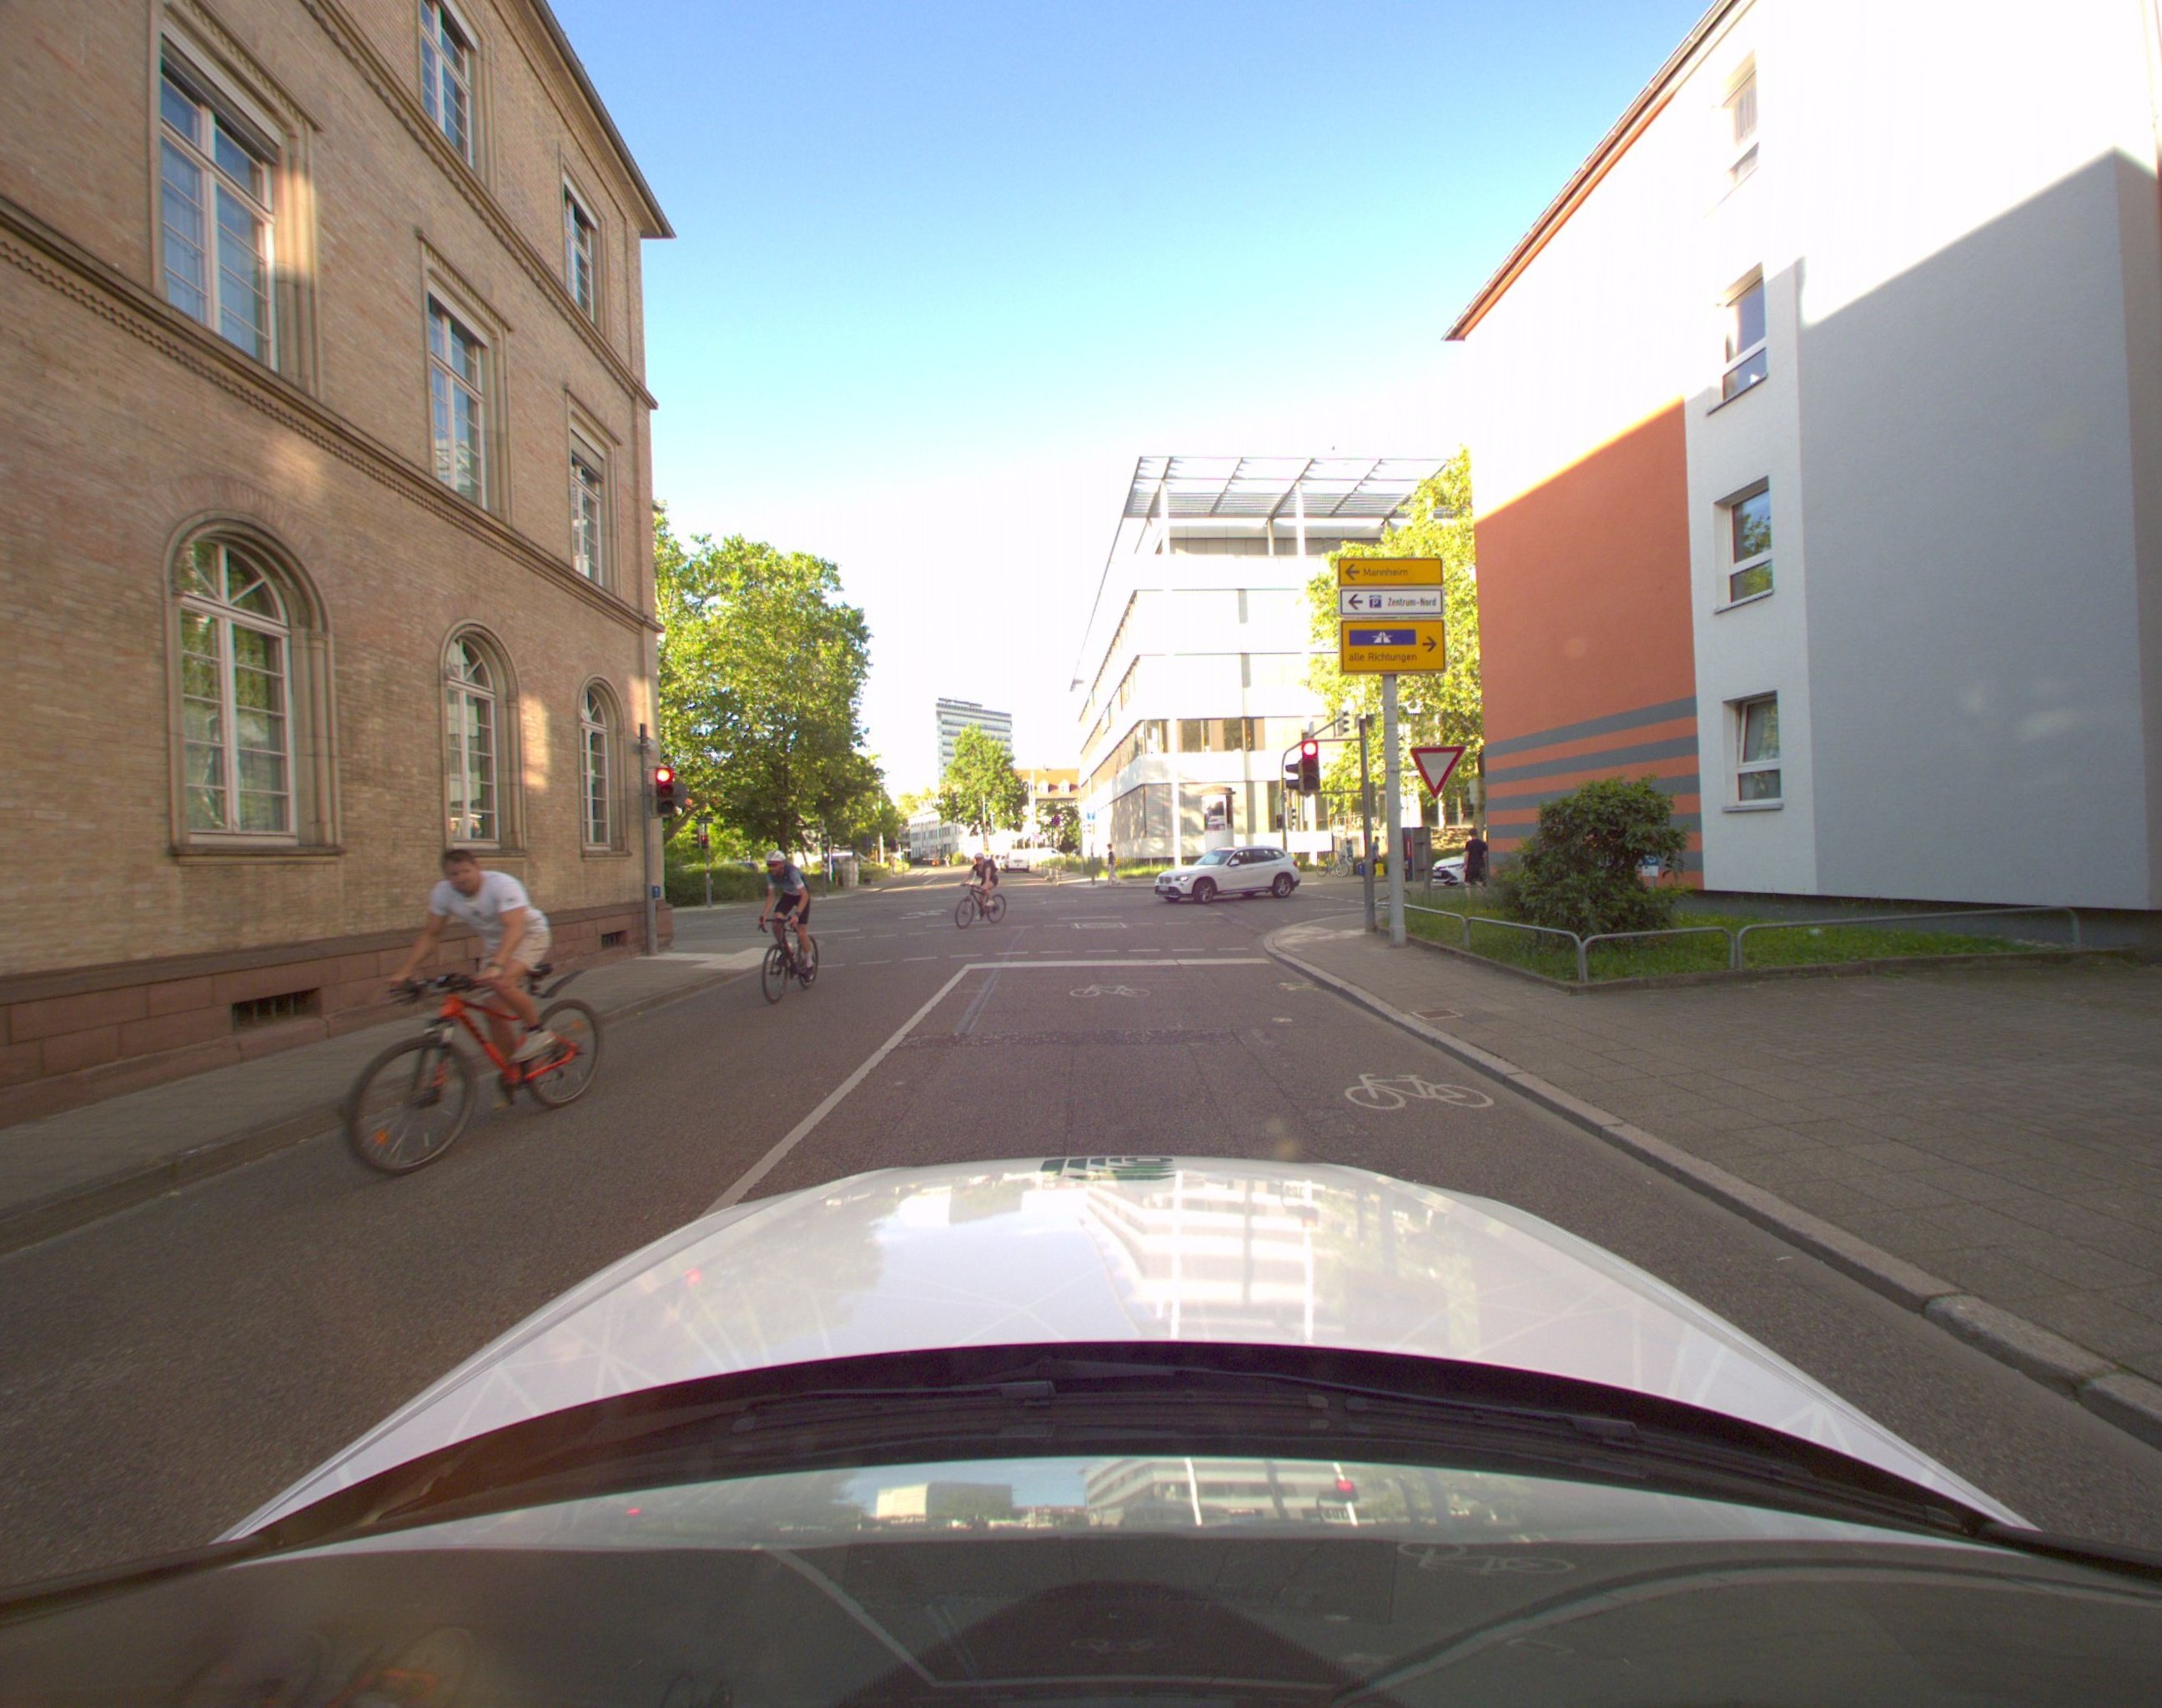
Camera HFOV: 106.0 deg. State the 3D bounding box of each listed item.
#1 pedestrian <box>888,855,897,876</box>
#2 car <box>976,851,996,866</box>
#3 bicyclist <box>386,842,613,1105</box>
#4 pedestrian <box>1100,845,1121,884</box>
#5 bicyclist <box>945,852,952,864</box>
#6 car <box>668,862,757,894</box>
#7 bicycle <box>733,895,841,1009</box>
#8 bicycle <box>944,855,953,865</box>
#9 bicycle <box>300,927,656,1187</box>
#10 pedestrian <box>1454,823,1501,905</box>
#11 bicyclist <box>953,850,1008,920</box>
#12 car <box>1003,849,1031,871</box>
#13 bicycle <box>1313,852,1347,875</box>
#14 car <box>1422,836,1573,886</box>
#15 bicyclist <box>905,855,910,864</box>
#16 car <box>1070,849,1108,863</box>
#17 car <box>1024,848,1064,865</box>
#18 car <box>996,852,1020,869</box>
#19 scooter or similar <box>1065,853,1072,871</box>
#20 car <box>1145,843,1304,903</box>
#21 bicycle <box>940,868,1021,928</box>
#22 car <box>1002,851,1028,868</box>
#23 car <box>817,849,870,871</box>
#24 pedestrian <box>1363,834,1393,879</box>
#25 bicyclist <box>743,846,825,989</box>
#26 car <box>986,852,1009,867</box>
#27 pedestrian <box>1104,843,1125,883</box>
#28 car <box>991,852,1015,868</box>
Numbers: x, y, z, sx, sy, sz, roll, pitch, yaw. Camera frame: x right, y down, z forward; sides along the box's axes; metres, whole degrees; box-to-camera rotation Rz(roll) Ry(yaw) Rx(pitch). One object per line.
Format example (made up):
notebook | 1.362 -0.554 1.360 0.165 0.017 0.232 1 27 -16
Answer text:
pedestrian | -14.450 0.875 62.463 0.700 1.587 0.633 0 -1 -14
car | -11.299 0.551 96.300 1.995 1.725 4.633 0 -1 -11
bicyclist | -3.672 0.703 5.222 0.698 1.522 0.920 -2 0 6
pedestrian | 1.342 0.464 36.634 0.758 1.719 0.651 -1 -1 23
bicyclist | -15.881 0.528 97.542 0.588 1.396 0.748 -2 0 2
car | -17.084 1.095 37.899 3.407 1.457 1.646 0 -1 -8
bicycle | -3.537 1.132 9.960 0.623 1.152 1.784 -2 0 0
bicycle | -15.866 0.750 97.564 0.588 1.152 1.971 -2 0 2
bicycle | -3.652 1.148 5.213 0.622 1.152 1.973 -2 0 6
pedestrian | 9.010 0.218 18.512 0.723 1.810 0.693 0 -1 -39
bicyclist | -2.165 0.667 17.663 0.619 1.446 0.980 -2 0 37
car | -5.172 0.479 65.115 1.992 1.725 4.640 0 -1 -7
bicycle | 11.005 0.436 36.023 0.381 1.008 1.416 -2 0 -40
car | 13.254 0.205 26.011 4.076 1.420 1.713 -2 0 -9
bicyclist | -28.795 0.858 135.223 0.616 1.472 0.737 -2 0 -14
car | 1.025 0.275 104.952 4.644 1.725 1.990 0 -1 -15
car | -4.681 0.290 103.246 4.802 2.159 1.989 0 -1 -16
car | -6.919 0.621 77.149 1.993 1.499 4.638 0 -1 -8
scooter or similar | -0.914 0.592 58.472 0.436 1.256 1.418 -2 0 -2
car | 4.177 0.493 23.557 4.380 1.514 1.703 -2 0 -27
bicycle | -2.159 0.923 17.665 0.619 1.152 1.796 -2 0 37
car | -5.847 0.491 71.349 1.993 1.499 4.638 0 -1 -8
car | -22.024 0.536 75.766 4.441 2.014 1.995 0 -1 -8
pedestrian | 12.223 0.116 33.565 0.913 1.815 0.760 0 -1 -8
bicyclist | -3.553 0.731 9.801 0.623 1.628 0.826 -2 0 0
car | -8.883 0.604 86.376 1.994 1.499 4.635 0 -1 -10
pedestrian | 1.546 0.418 37.494 0.758 1.795 0.651 -1 -1 23
car | -7.842 0.598 81.623 1.994 1.499 4.270 0 -1 -11
